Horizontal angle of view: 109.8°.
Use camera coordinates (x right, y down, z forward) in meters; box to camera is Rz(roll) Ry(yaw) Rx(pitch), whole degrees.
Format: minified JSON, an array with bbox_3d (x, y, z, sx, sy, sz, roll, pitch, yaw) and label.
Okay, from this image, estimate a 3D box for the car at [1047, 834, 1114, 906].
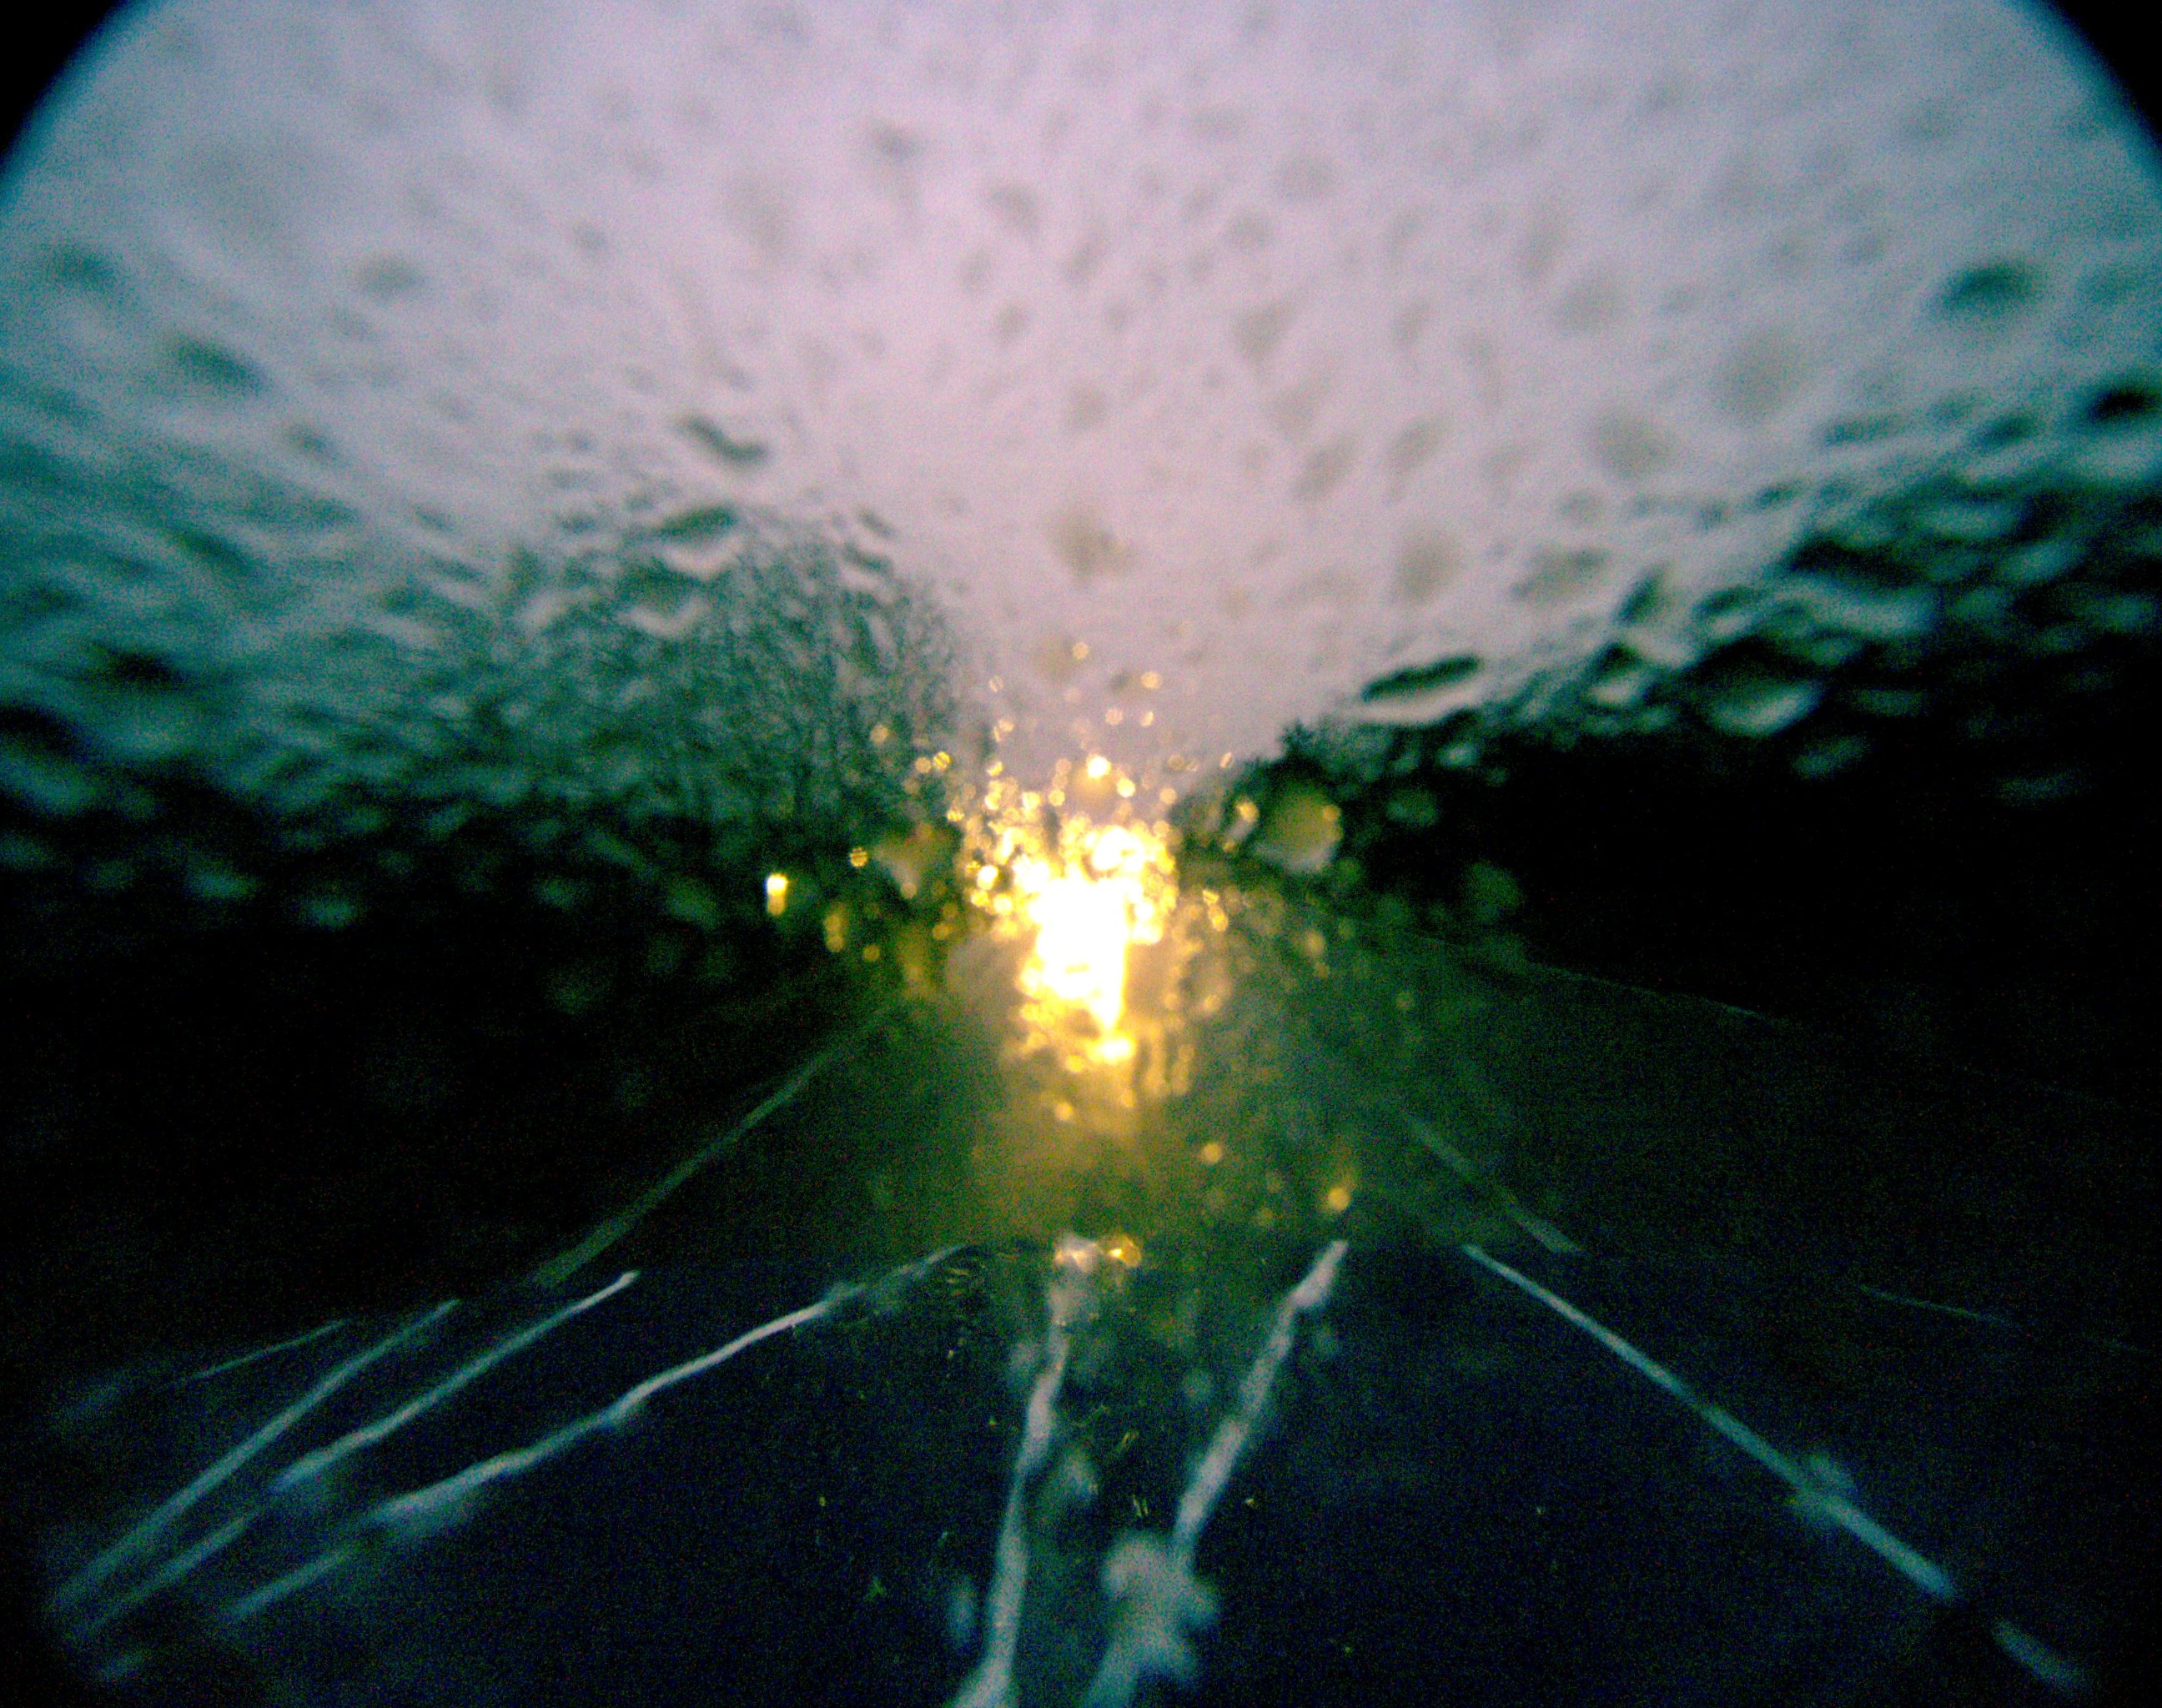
[{"bbox_3d":[0.084,0.487,25.931,1.952,2.195,4.535,-2,0,3],"label":"car"}]
